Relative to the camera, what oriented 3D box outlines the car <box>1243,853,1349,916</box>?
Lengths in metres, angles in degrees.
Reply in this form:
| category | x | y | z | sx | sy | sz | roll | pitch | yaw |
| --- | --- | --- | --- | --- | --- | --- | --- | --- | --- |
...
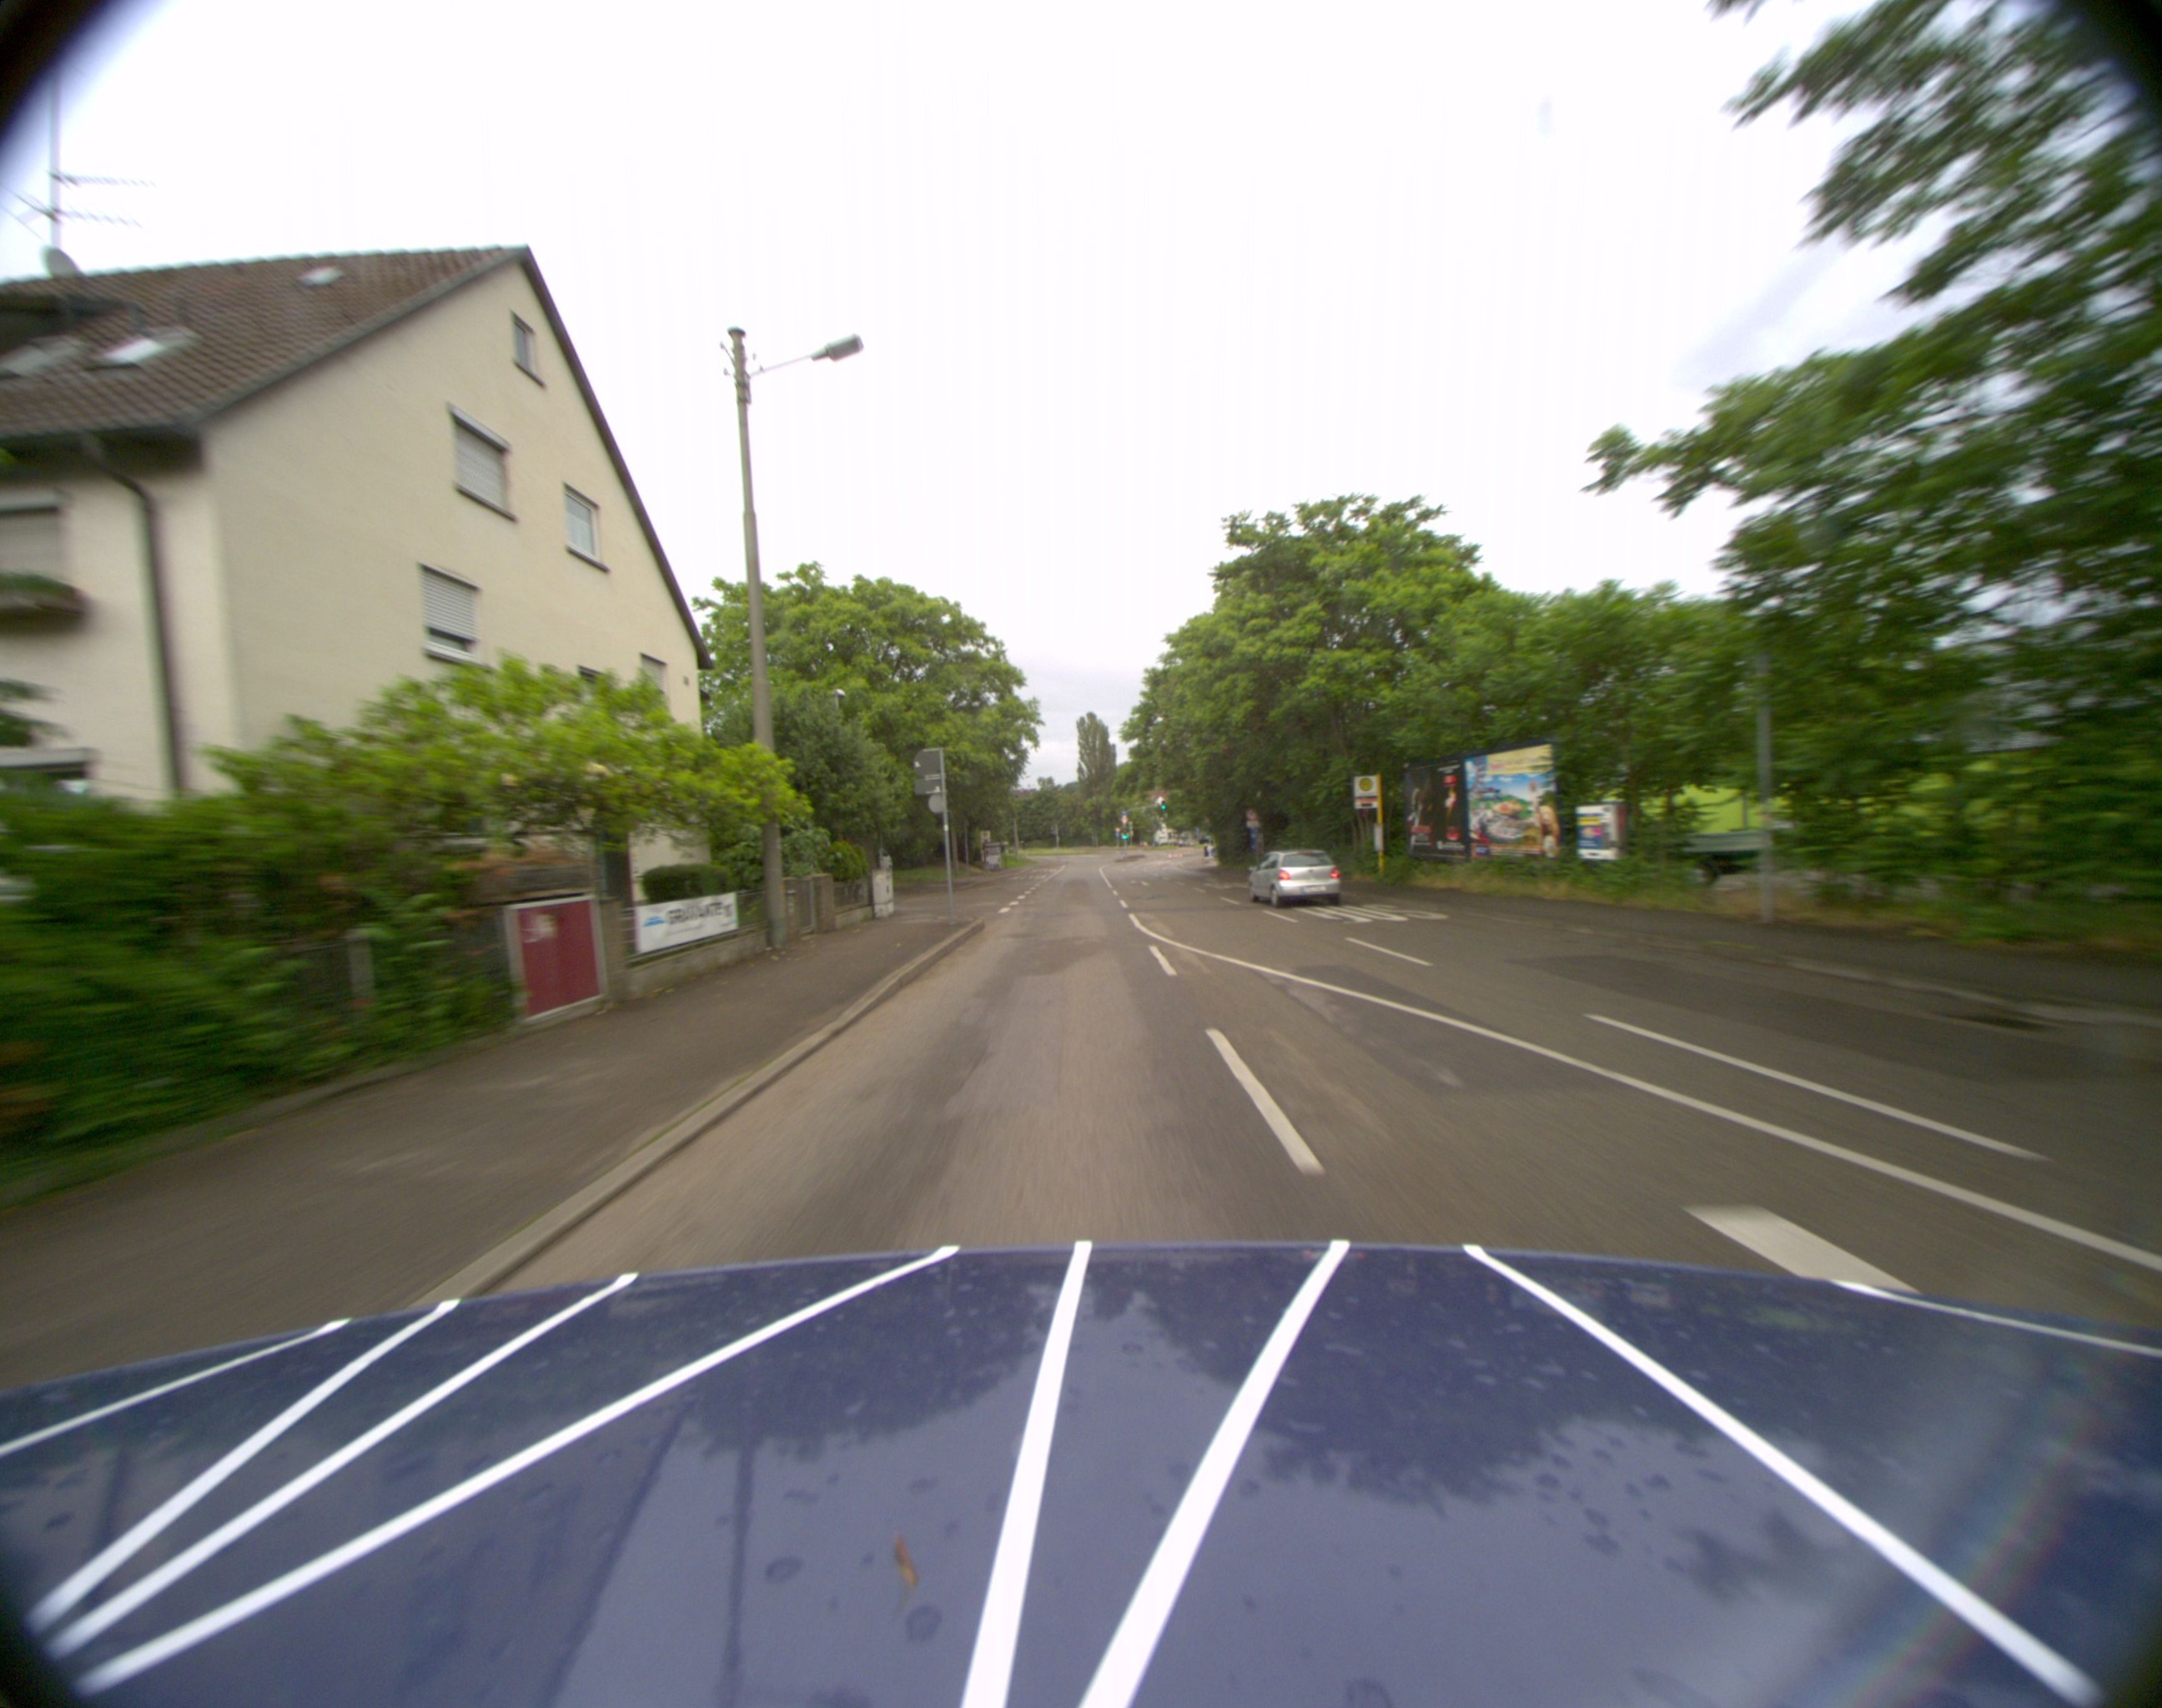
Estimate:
| category | x | y | z | sx | sy | sz | roll | pitch | yaw |
| --- | --- | --- | --- | --- | --- | --- | --- | --- | --- |
| car | 5.592 | 0.741 | 20.253 | 1.673 | 1.460 | 3.779 | -2 | 1 | -1 |
